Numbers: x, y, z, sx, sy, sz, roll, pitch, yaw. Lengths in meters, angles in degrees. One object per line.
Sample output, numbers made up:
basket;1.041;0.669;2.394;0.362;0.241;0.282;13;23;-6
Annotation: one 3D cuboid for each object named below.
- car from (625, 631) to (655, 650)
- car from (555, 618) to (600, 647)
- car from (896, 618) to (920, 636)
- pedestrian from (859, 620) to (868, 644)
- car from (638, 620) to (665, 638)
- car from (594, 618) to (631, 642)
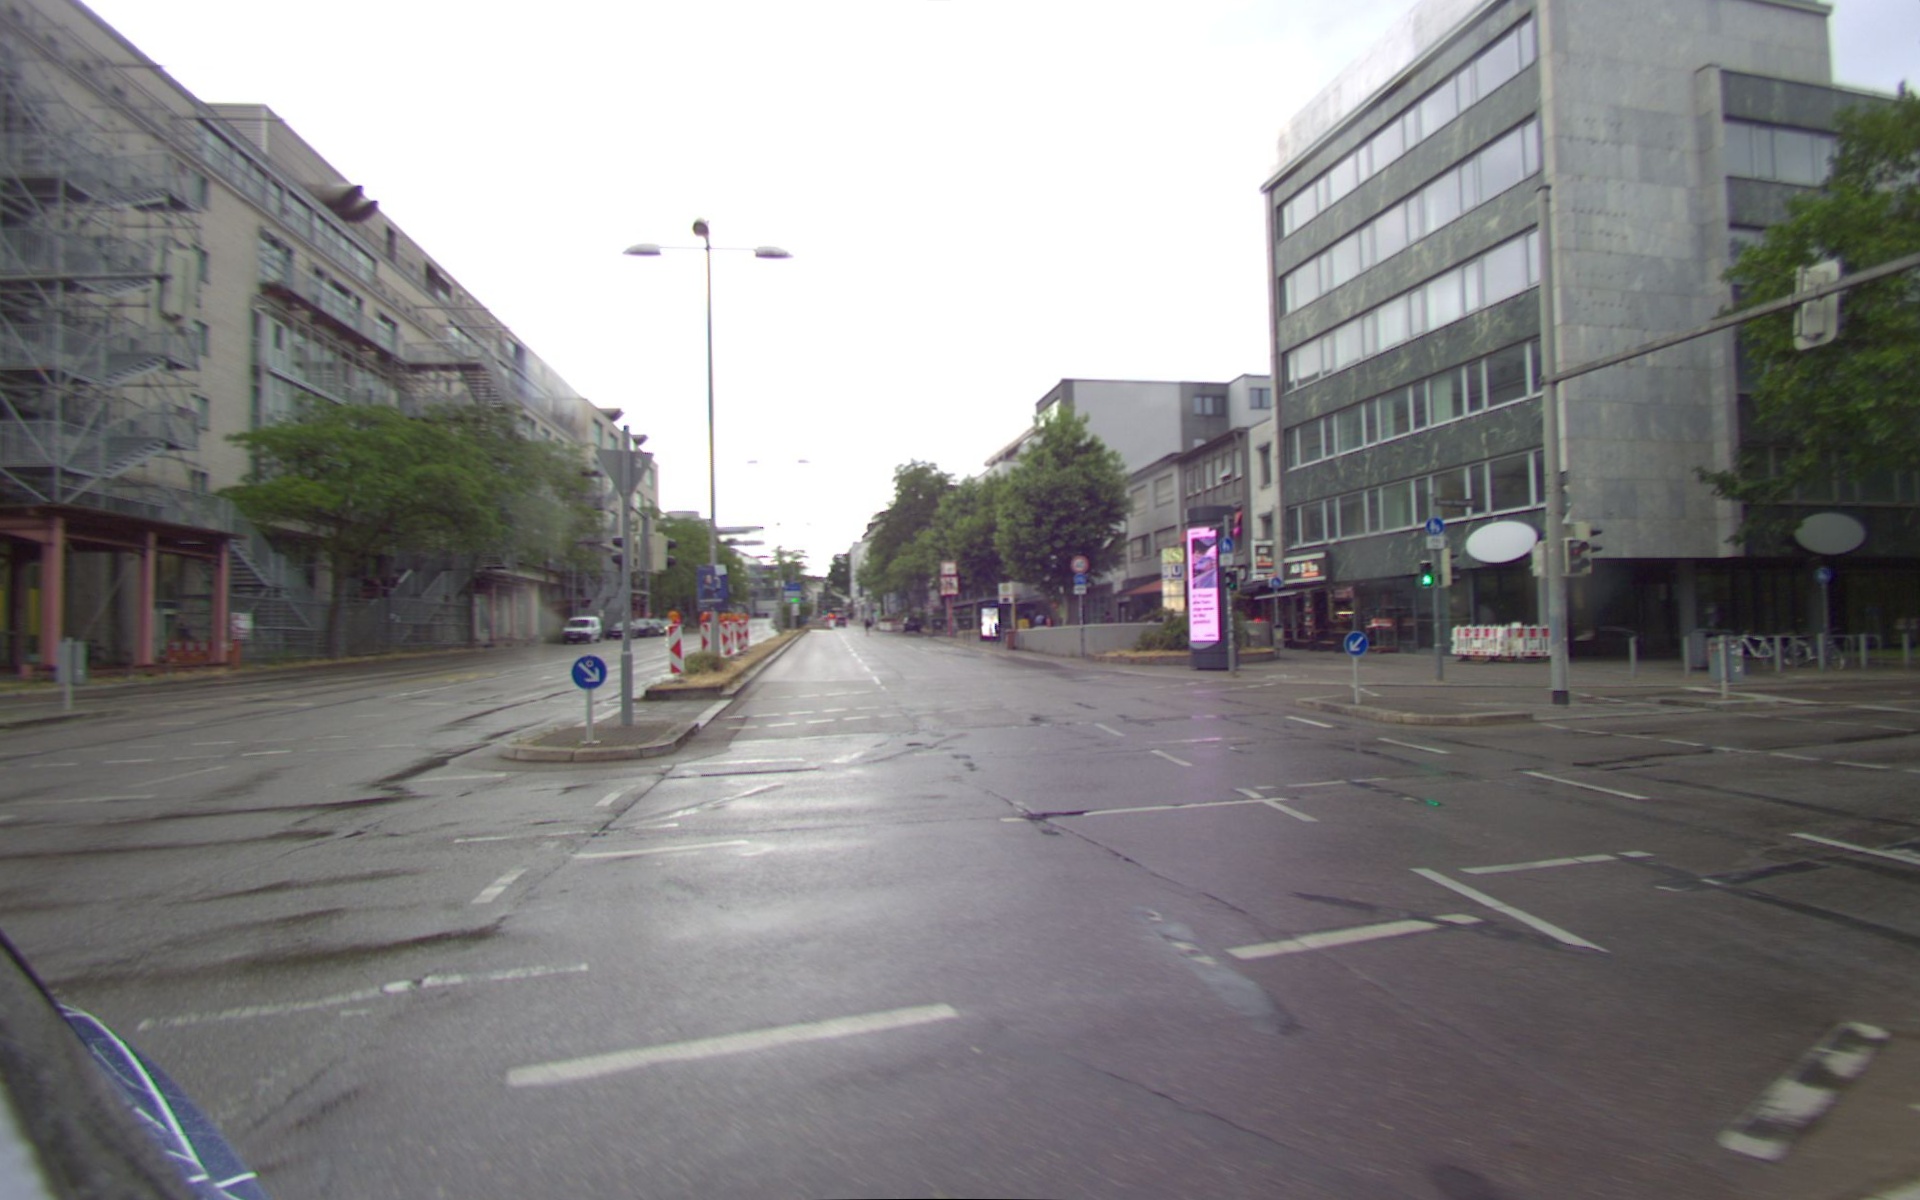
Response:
car;-27.131;3.392;85.904;1.730;1.522;4.345;-1;-1;-9
car;-25.602;2.154;67.893;1.968;1.807;4.345;-1;-1;-9
car;-5.248;2.716;102.467;1.968;1.763;4.007;-1;-1;-9
pedestrian;-8.408;2.779;87.910;0.608;2.029;0.692;-1;-2;7
car;-27.971;2.619;91.779;1.730;1.522;4.345;-1;-1;-9
car;-27.130;2.362;79.119;1.968;1.807;4.345;-1;-1;-9
